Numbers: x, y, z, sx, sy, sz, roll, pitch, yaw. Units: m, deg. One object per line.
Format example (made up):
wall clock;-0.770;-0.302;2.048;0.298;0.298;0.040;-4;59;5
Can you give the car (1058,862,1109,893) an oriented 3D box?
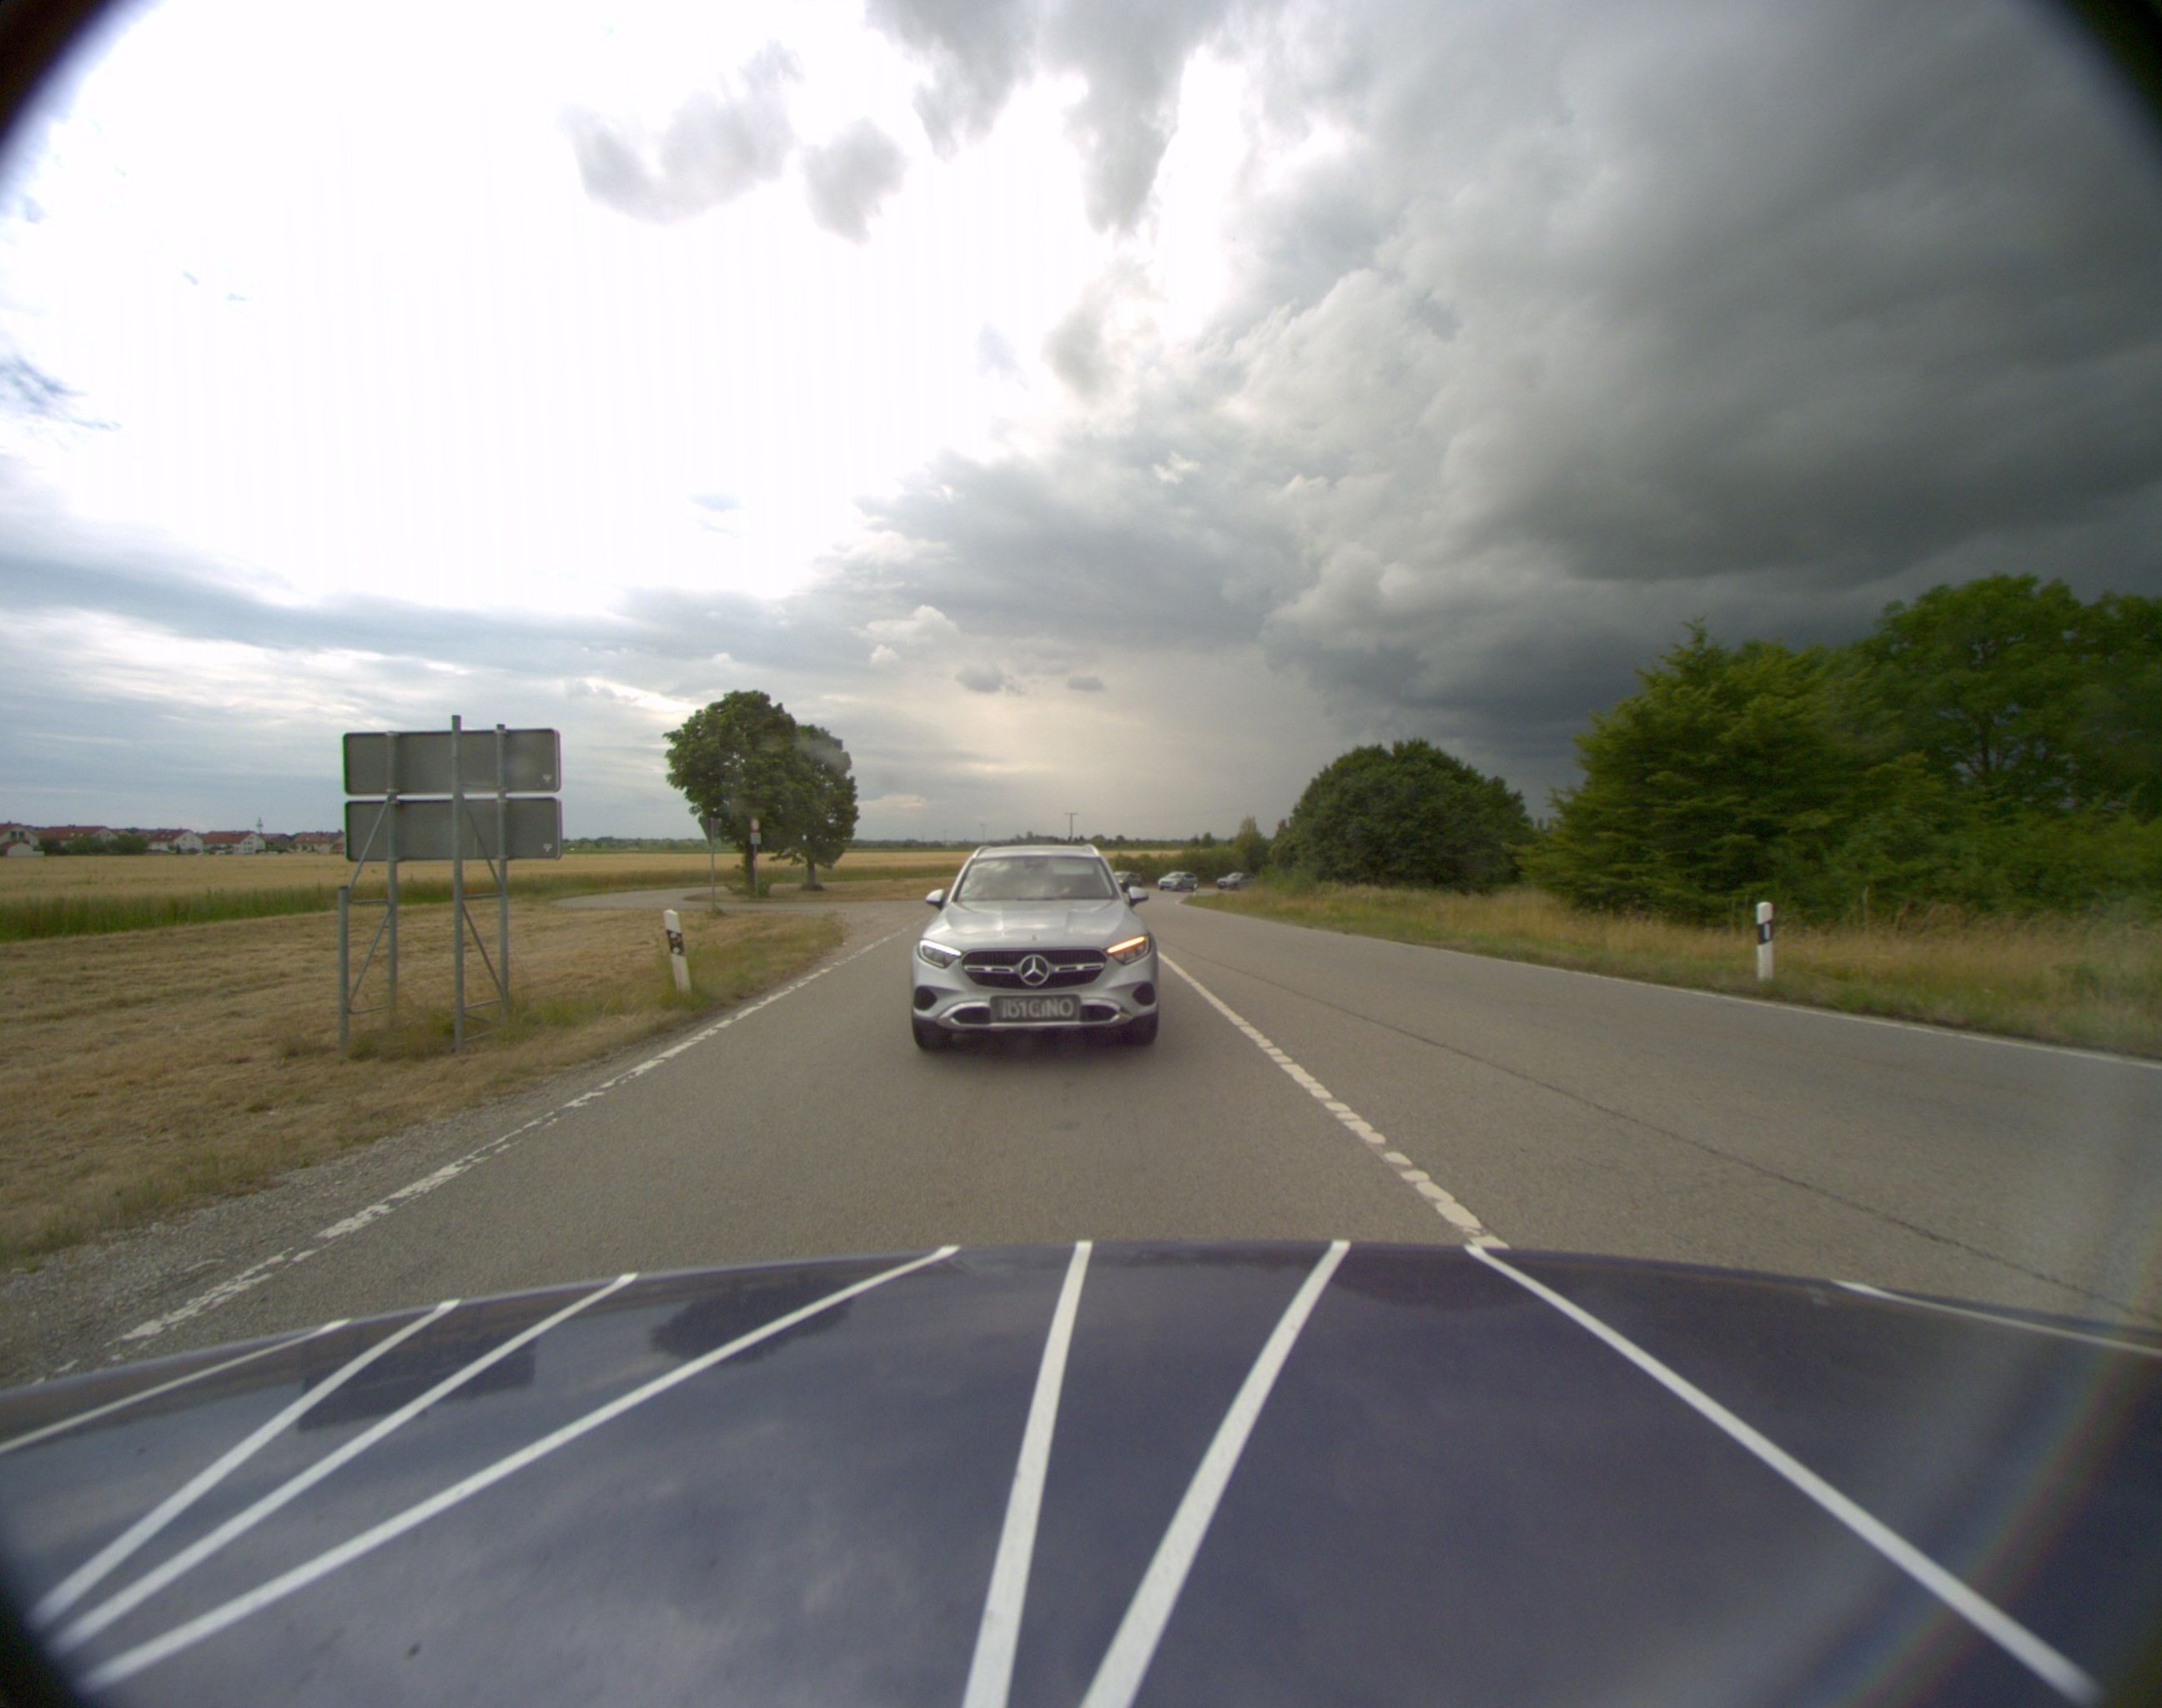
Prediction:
car;0.242;1.458;48.068;1.996;1.709;5.215;3;0;14

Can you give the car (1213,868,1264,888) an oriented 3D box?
car;15.287;2.264;73.660;5.219;1.710;1.994;0;2;-39

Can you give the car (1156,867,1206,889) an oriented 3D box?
car;8.655;2.069;65.579;1.994;1.709;5.221;3;0;35

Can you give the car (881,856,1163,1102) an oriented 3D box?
car;-0.455;0.834;7.280;1.837;1.577;4.449;-1;0;-2

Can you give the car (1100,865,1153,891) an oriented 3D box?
car;3.476;1.802;56.904;1.994;1.709;5.220;3;0;27
